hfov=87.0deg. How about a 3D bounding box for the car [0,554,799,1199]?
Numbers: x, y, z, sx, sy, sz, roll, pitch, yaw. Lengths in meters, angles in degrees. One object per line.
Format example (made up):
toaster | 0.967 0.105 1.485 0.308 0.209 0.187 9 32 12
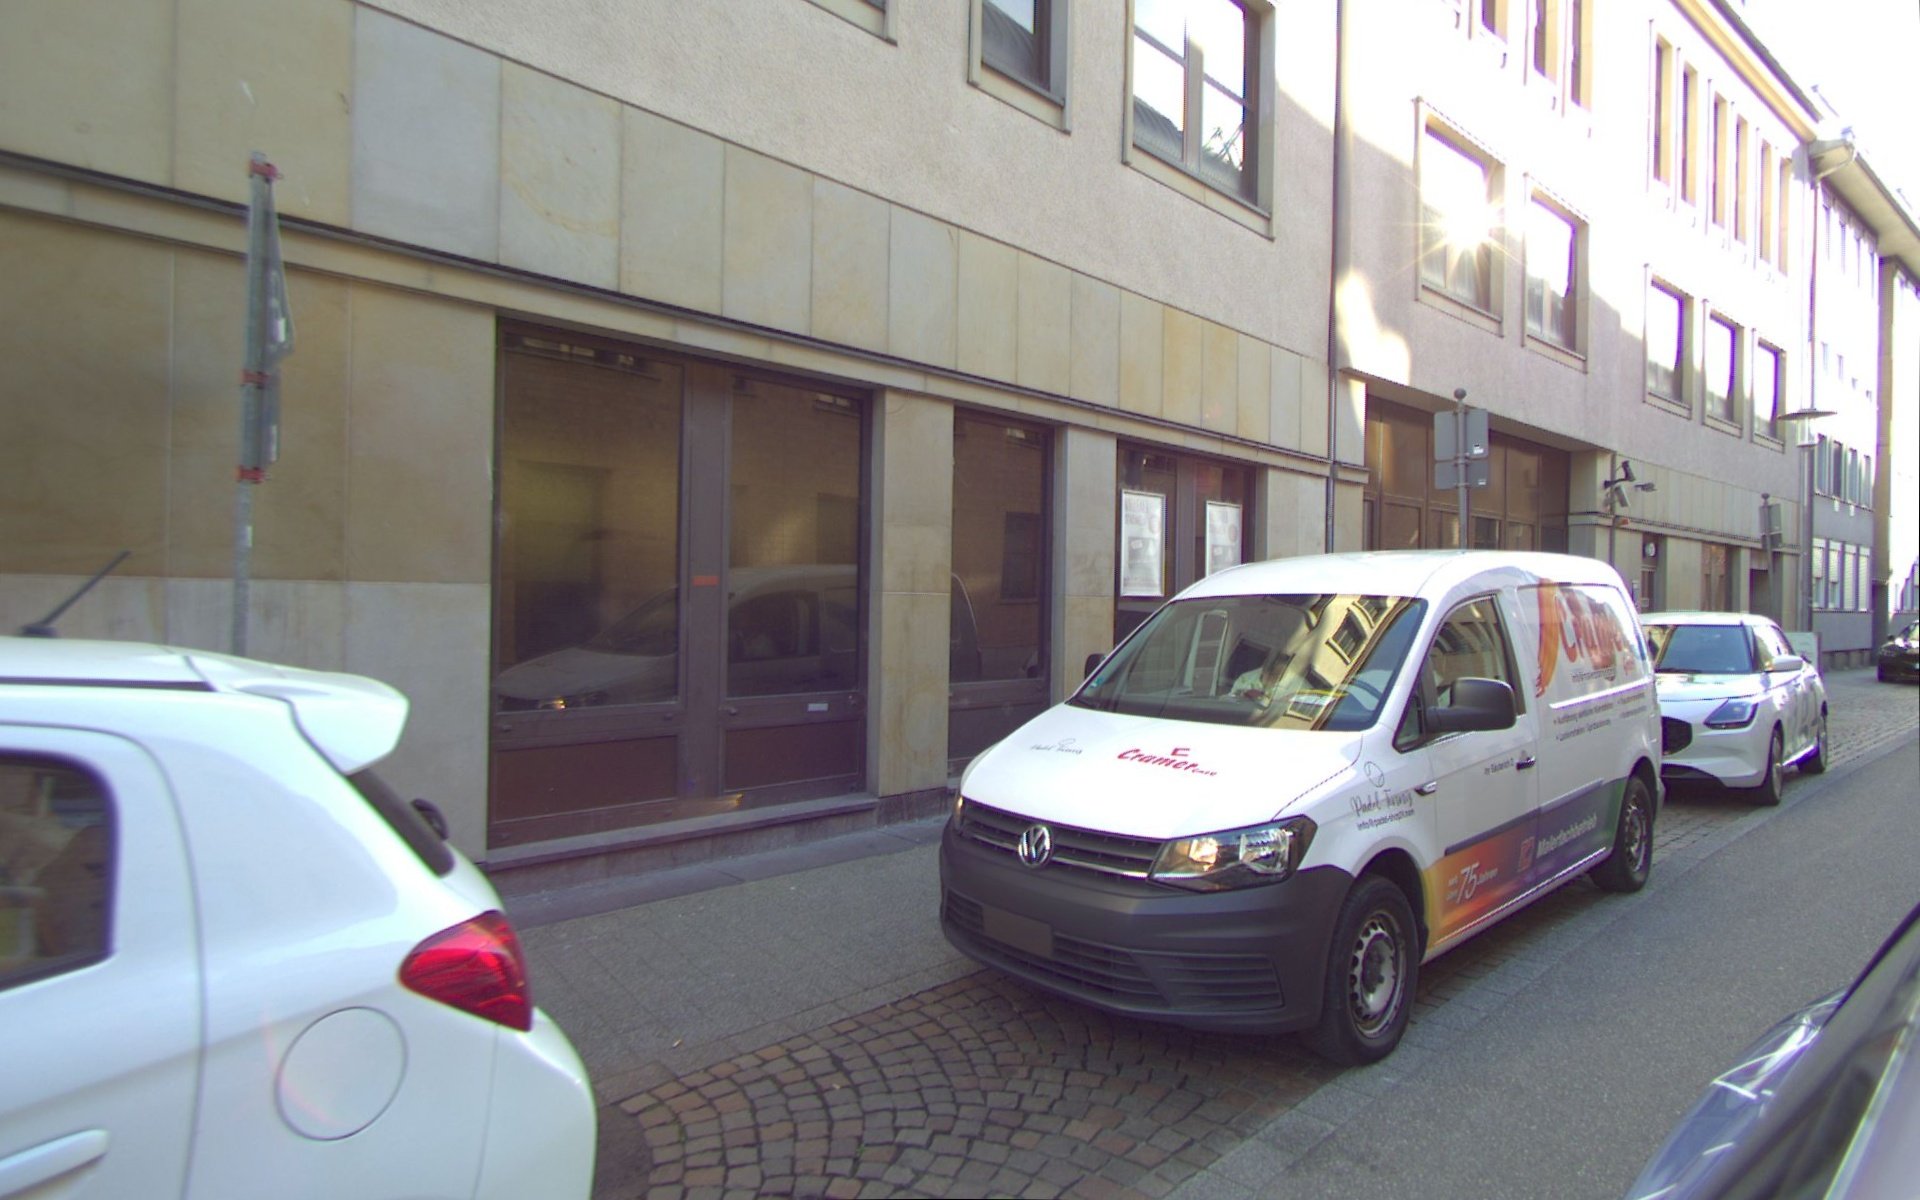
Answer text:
car | -2.356 0.710 1.142 1.888 1.537 3.999 0 0 43

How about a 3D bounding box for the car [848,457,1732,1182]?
car | 2.064 0.557 4.956 5.124 1.814 1.833 0 -1 -42

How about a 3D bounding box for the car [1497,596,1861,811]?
car | 6.622 0.764 9.154 4.097 1.497 1.842 1 -2 -43

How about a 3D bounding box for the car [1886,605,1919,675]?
car | 22.466 0.862 22.538 5.129 1.472 1.898 1 -1 -38
